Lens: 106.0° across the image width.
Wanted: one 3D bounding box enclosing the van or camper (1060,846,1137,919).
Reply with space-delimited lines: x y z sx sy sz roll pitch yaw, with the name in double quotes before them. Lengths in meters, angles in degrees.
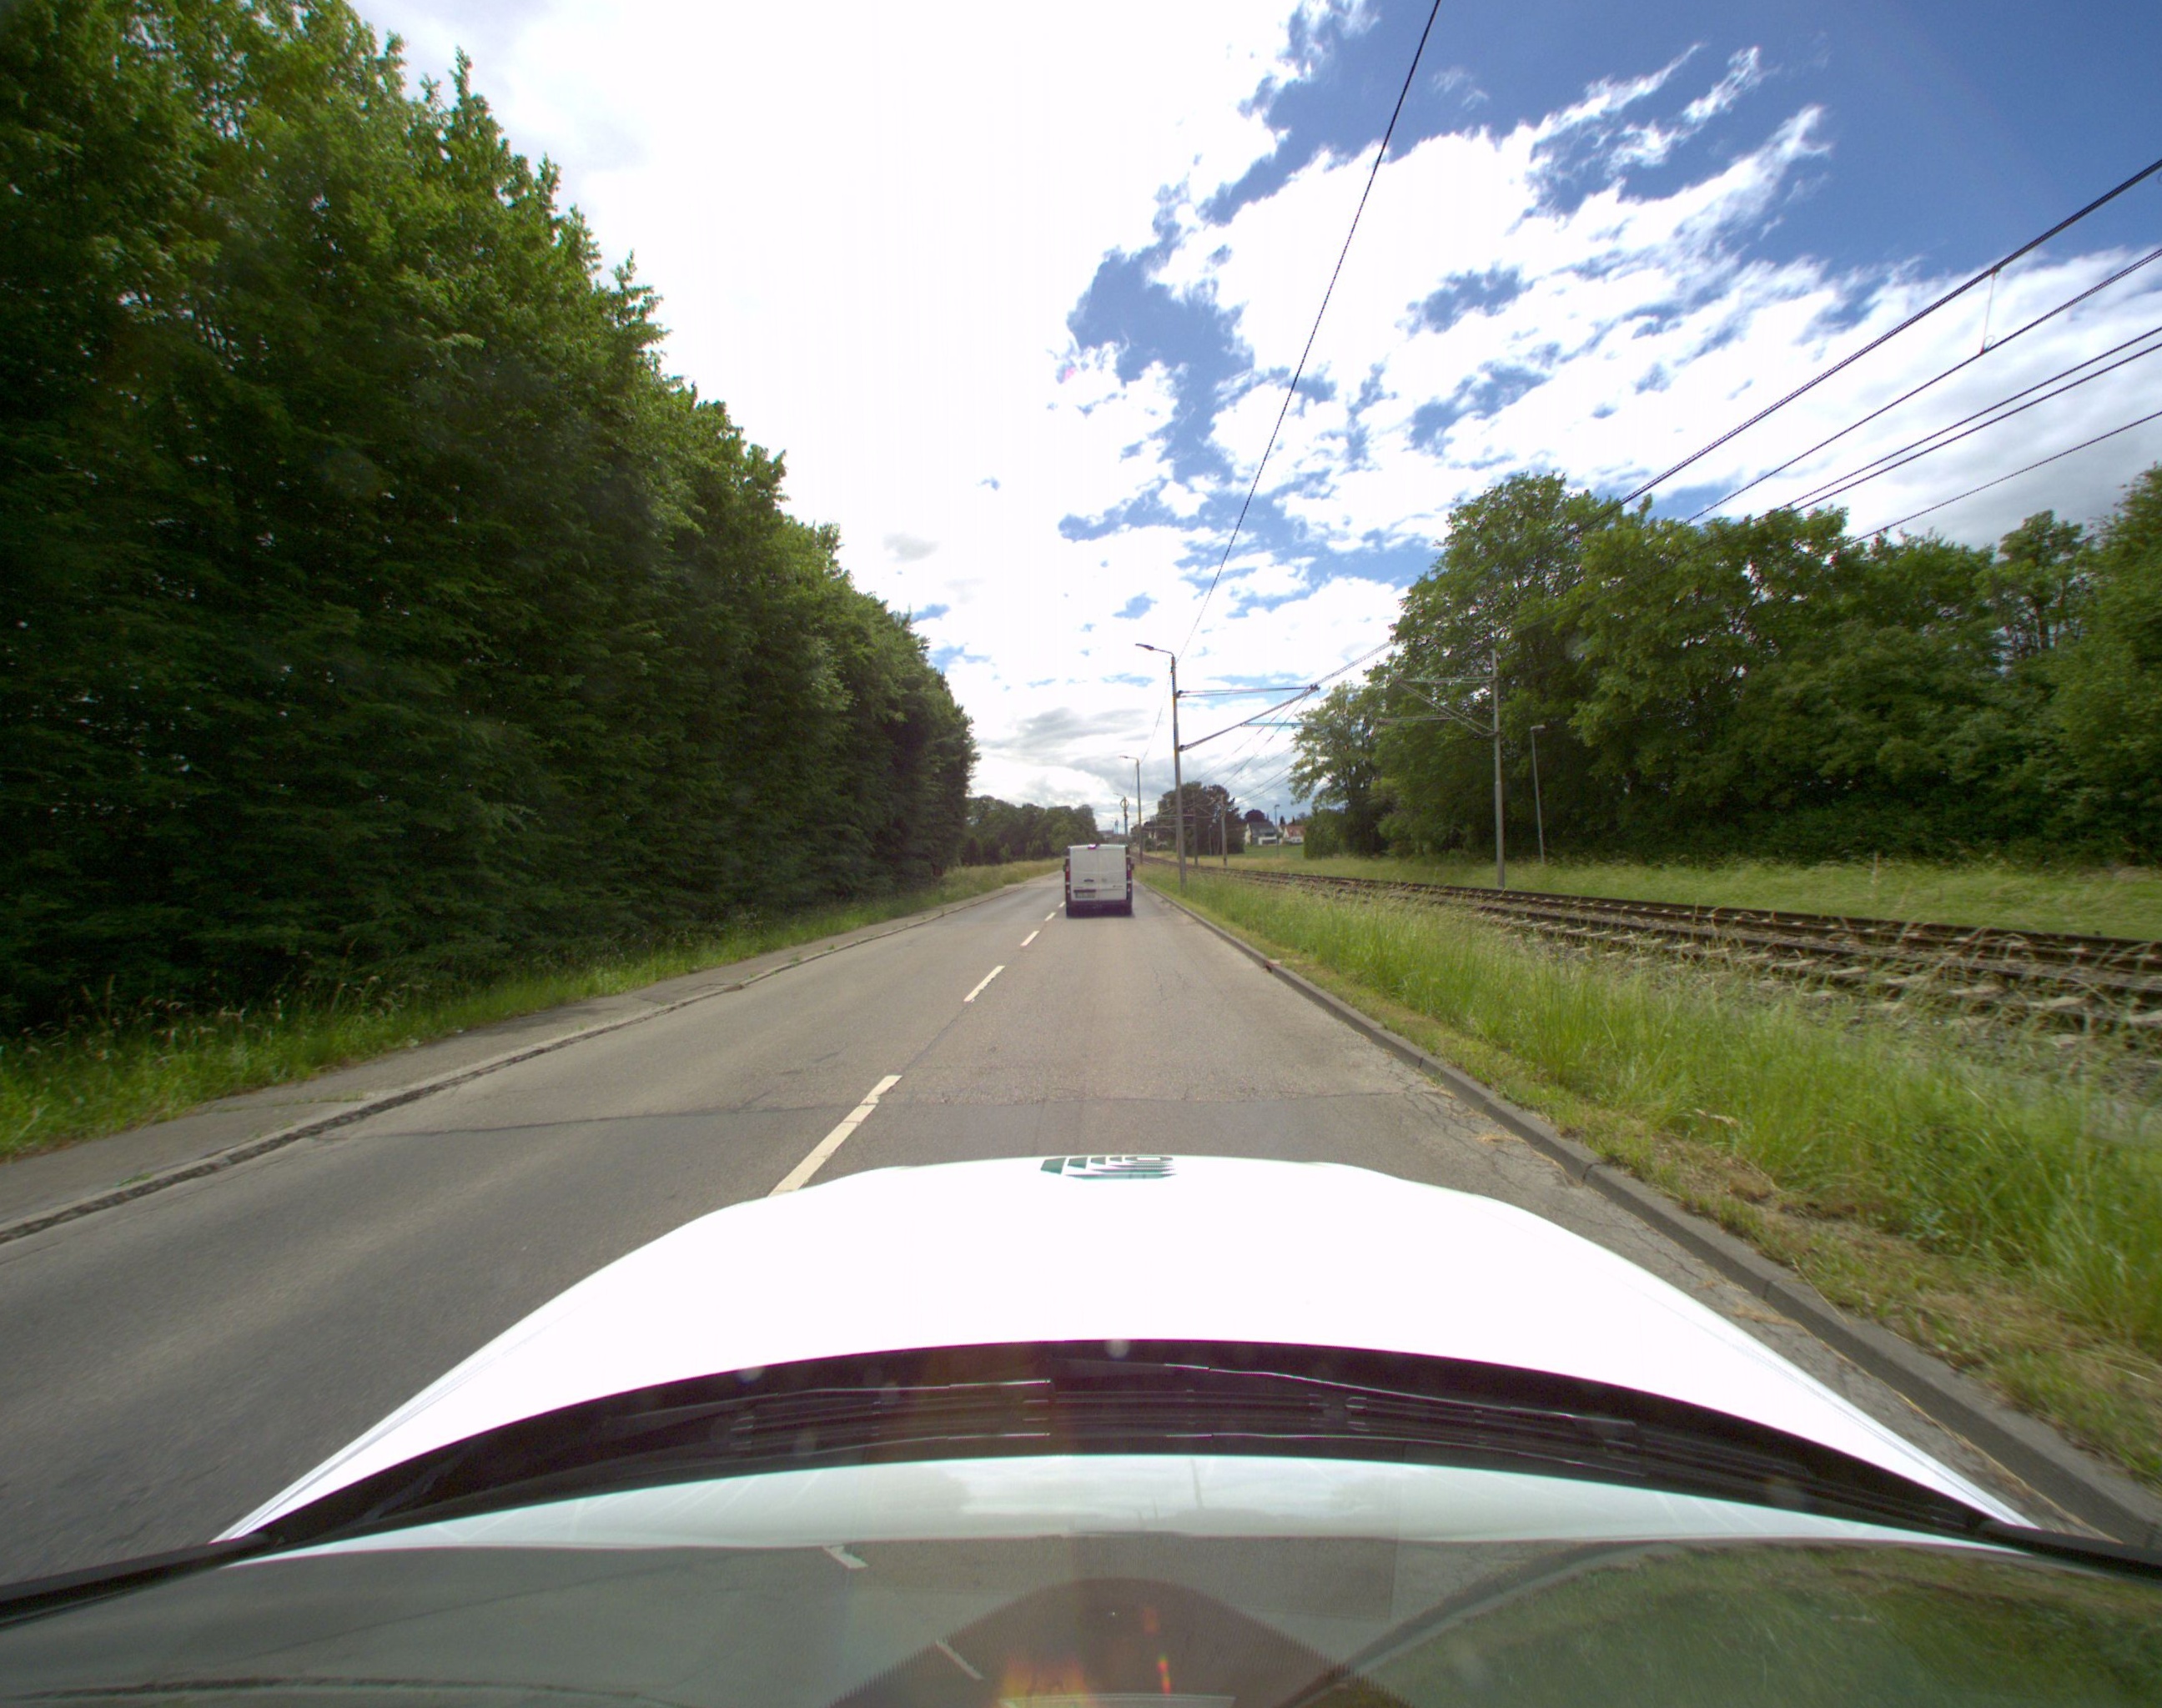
"van or camper" 0.611 0.792 23.838 1.933 1.897 4.290 -2 -1 5
